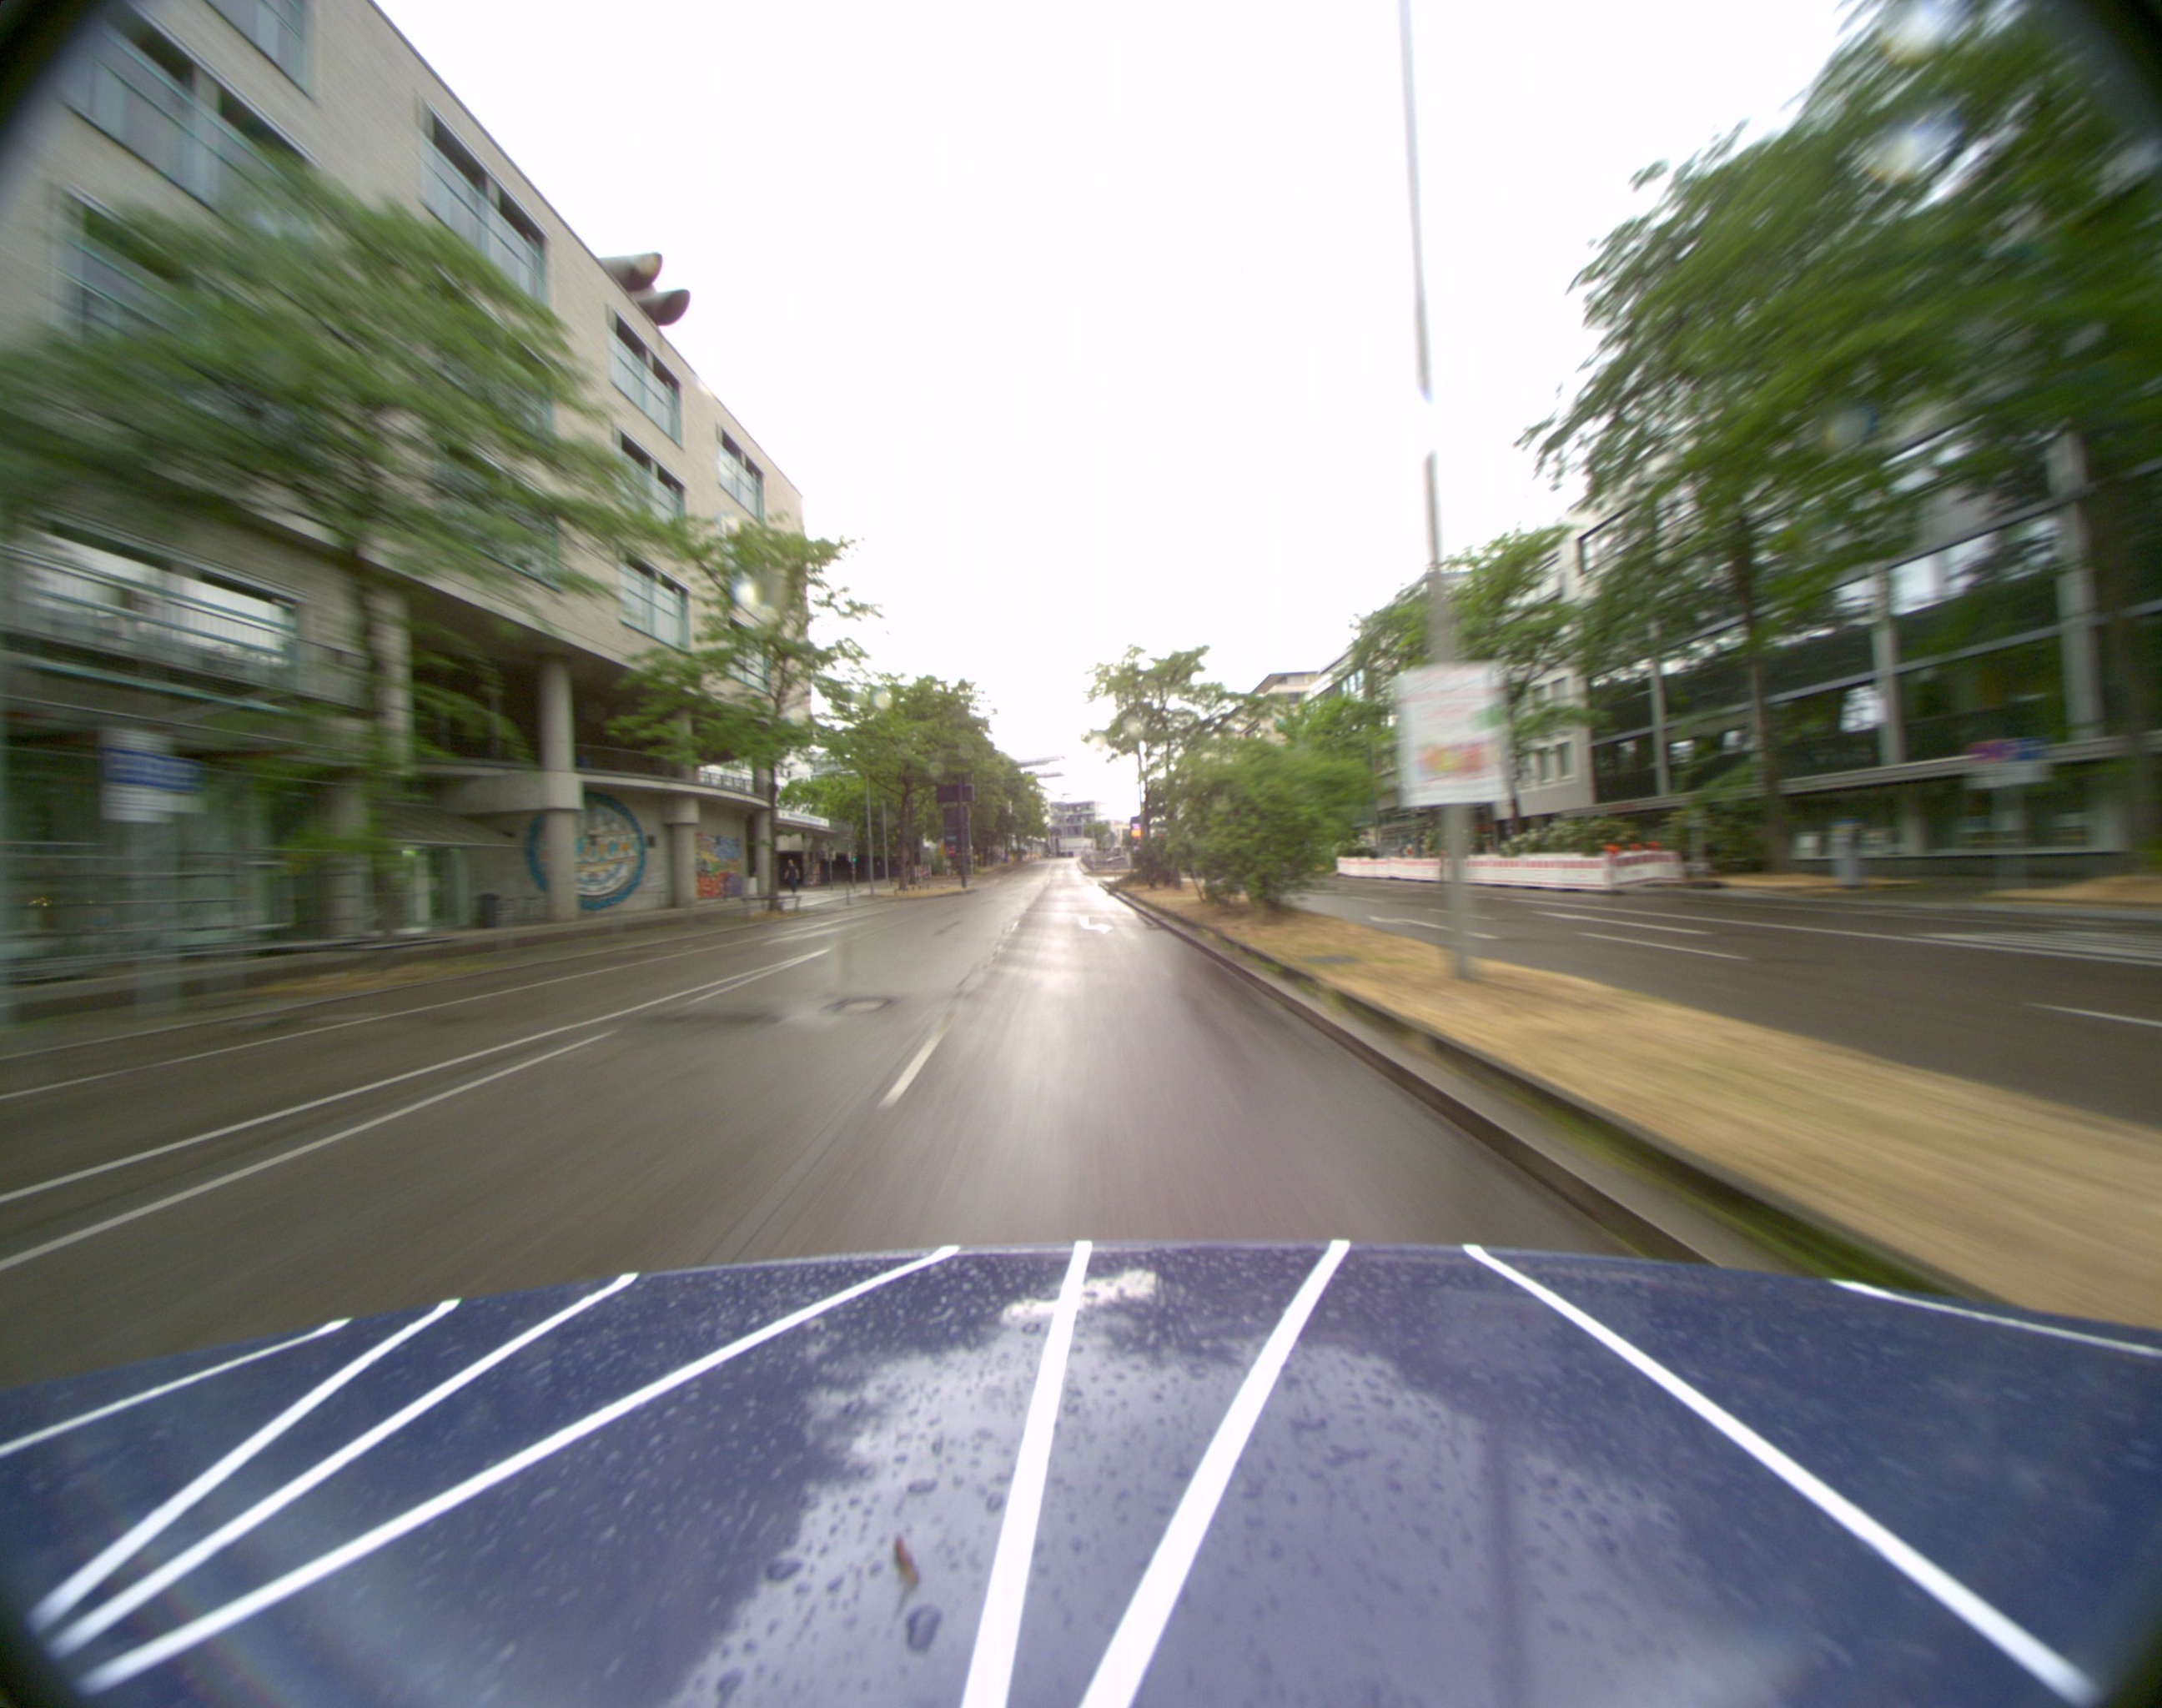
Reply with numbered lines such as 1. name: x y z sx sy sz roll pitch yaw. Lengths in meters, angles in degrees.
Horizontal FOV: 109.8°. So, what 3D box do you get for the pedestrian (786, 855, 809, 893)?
1. pedestrian: -15.328 1.057 41.058 0.871 2.002 0.758 -3 1 -2
